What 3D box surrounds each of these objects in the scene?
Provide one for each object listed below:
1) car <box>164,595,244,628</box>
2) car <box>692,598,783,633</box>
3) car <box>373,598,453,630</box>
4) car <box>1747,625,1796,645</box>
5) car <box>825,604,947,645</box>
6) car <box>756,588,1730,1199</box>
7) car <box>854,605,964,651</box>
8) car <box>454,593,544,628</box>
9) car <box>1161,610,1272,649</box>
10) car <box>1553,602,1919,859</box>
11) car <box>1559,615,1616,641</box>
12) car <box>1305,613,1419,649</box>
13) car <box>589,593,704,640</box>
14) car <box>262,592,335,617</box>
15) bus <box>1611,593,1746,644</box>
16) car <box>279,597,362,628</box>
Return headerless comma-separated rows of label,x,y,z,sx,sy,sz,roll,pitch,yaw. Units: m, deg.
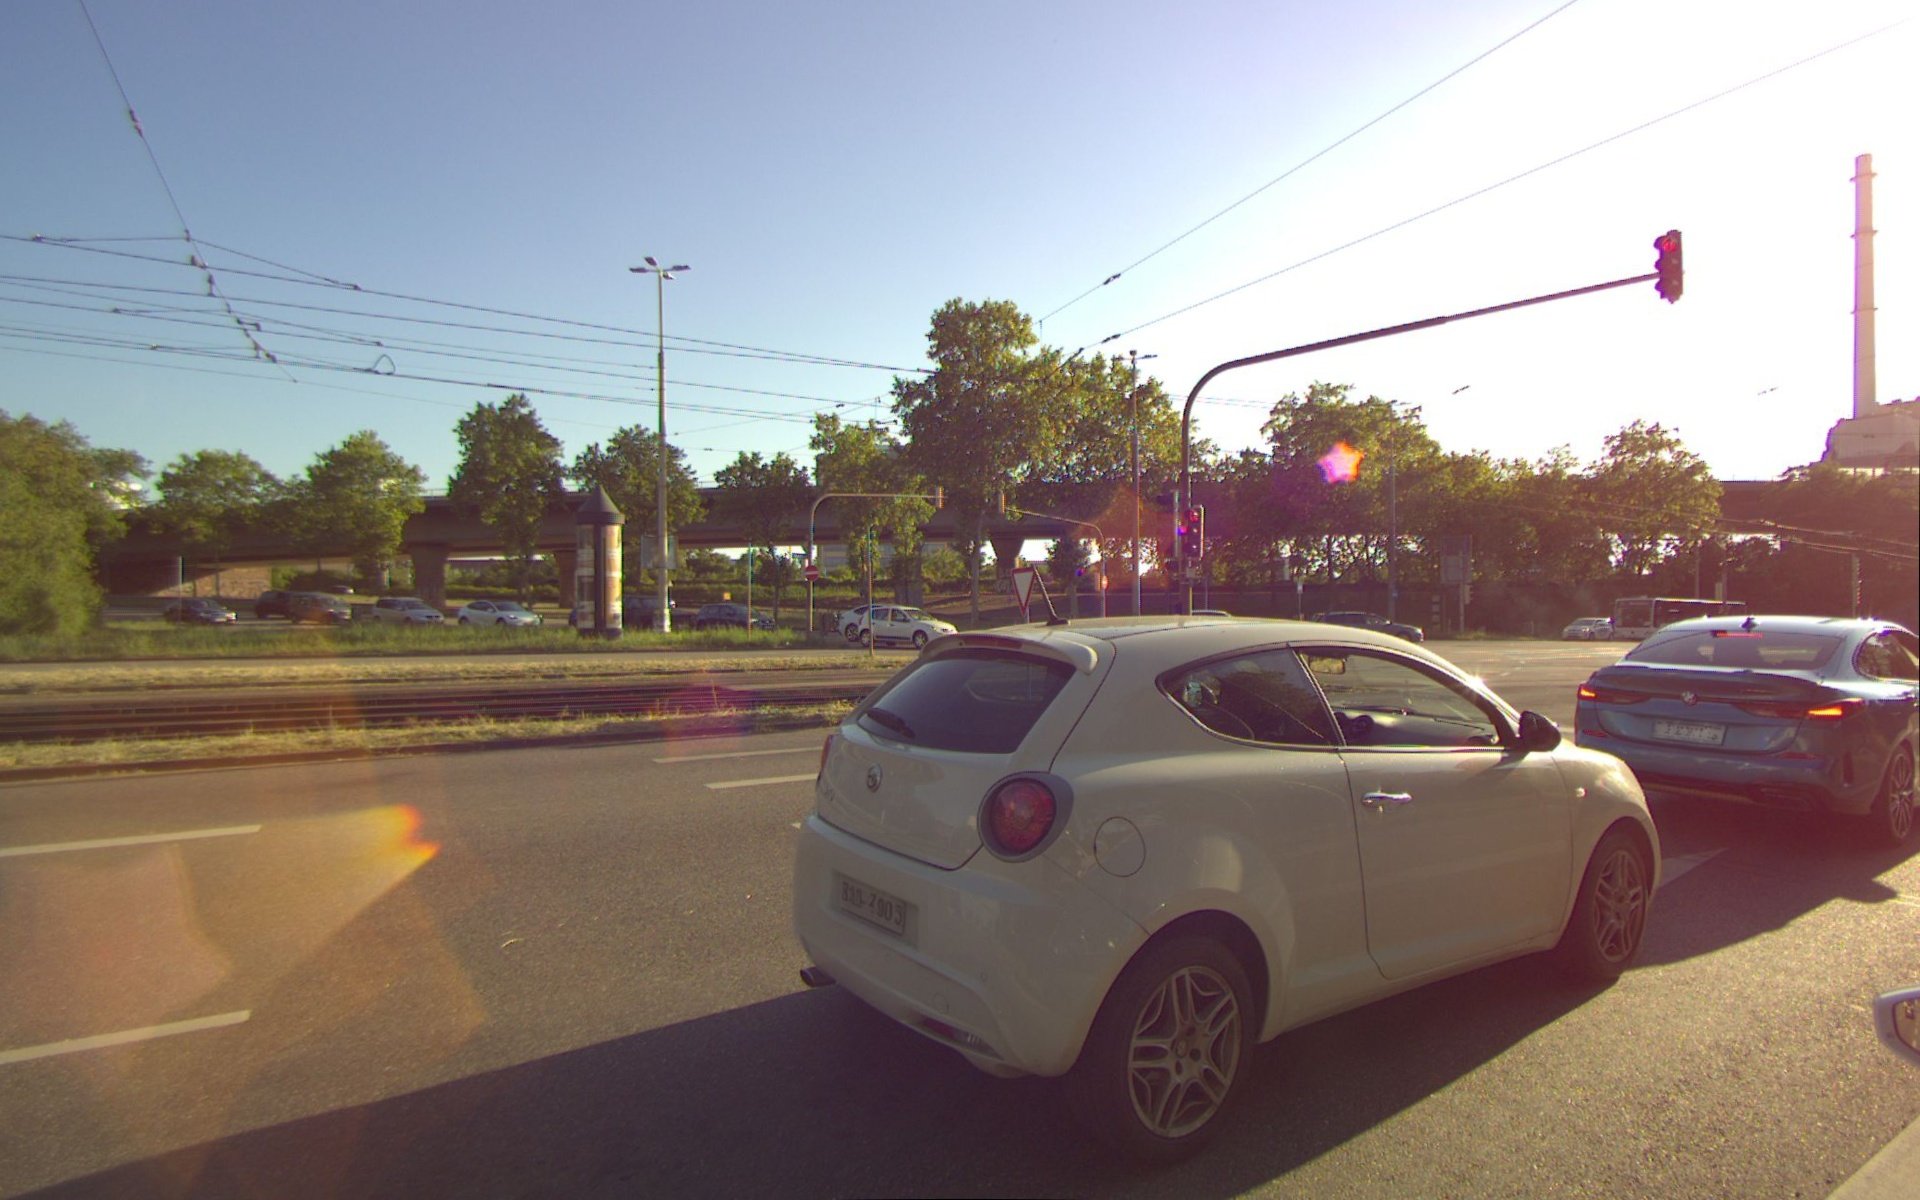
car,-40.842,0.578,54.223,4.671,1.701,1.751,1,0,30
car,-10.458,0.699,47.220,4.175,1.596,1.690,0,0,31
car,-29.320,0.729,53.824,4.208,1.653,1.691,0,0,27
car,61.200,2.598,75.738,3.962,1.438,1.598,1,0,-31
car,-3.188,0.997,42.609,5.278,1.596,1.735,0,0,35
car,1.349,0.758,4.128,3.958,1.525,1.726,0,-1,-34
car,-1.933,1.004,37.512,3.936,1.596,1.687,0,0,37
car,-23.127,0.503,50.354,4.682,1.596,1.690,1,1,30
car,10.219,1.143,39.999,4.114,1.423,1.670,1,0,20
car,6.459,0.777,7.695,4.163,1.485,1.703,0,-1,-34
car,39.194,1.735,62.736,3.967,1.532,1.596,1,0,-34
car,17.274,1.317,43.345,4.355,1.423,1.671,1,0,13
car,-14.067,0.700,45.045,4.852,2.017,2.035,0,0,27
car,-42.484,0.302,64.510,4.325,1.546,1.624,1,0,19
bus,49.322,1.351,68.755,12.766,3.171,2.532,2,-2,-30
car,-36.514,0.698,57.355,4.327,1.701,1.694,1,0,19
